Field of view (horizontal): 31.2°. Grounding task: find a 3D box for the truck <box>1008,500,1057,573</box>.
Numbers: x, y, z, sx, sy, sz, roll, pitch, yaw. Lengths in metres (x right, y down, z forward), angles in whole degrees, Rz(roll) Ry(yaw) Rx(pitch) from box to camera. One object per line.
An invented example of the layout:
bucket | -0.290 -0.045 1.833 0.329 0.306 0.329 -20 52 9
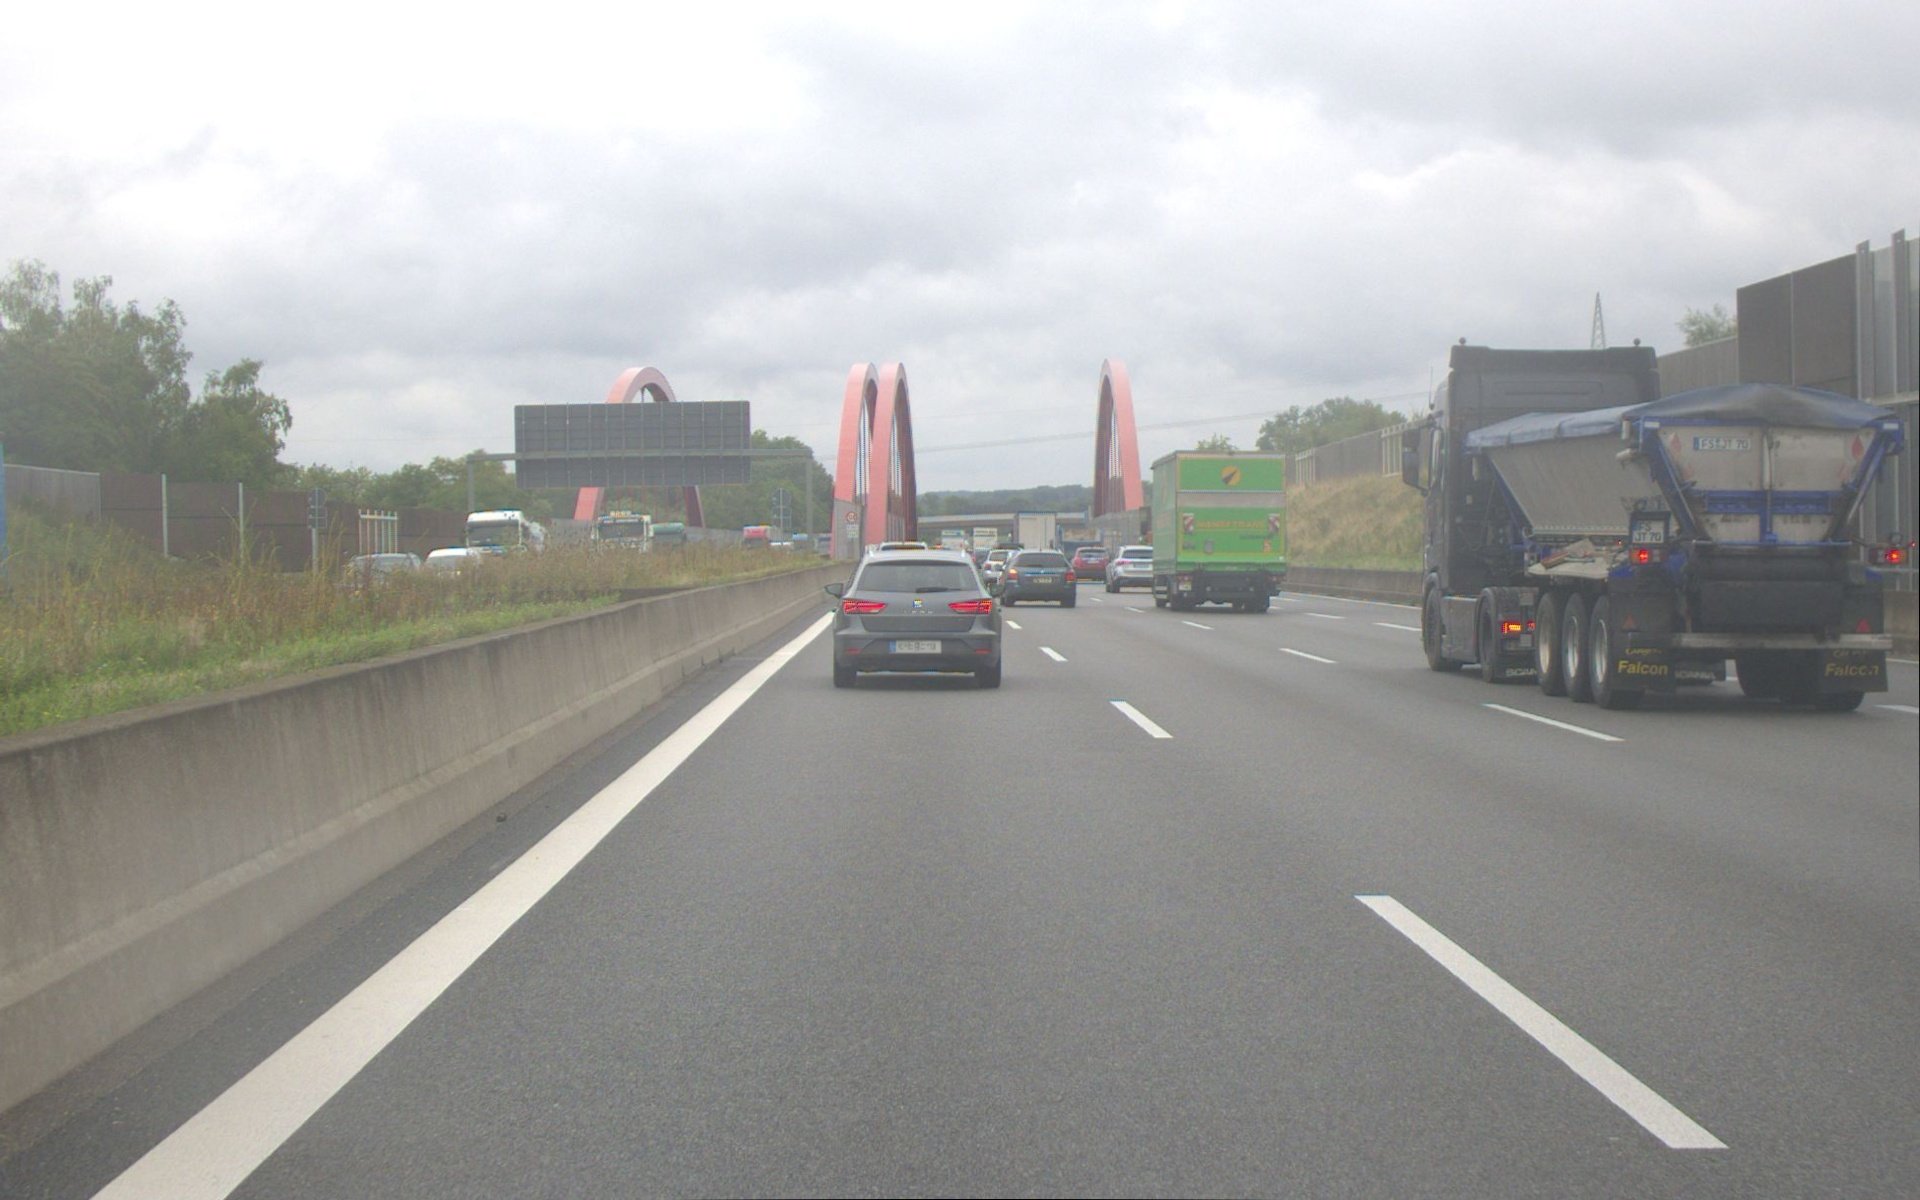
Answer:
truck | 4.791 -4.216 229.034 3.044 4.718 7.680 1 1 0

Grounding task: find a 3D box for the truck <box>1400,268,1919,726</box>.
truck | 7.131 -1.005 36.419 3.089 3.936 12.946 -1 1 -1

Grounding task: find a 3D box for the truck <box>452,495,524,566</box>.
truck | -20.478 -3.010 149.389 2.621 3.009 5.614 1 1 -3

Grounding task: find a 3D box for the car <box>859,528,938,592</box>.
car | -1.603 -1.064 89.798 1.993 1.579 4.000 -1 1 -1

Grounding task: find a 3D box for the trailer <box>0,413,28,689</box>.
trailer | -18.346 -0.805 55.895 3.216 4.868 13.529 1 1 -3

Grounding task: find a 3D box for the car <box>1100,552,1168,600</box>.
car | 5.992 -0.849 118.812 1.993 1.613 5.328 1 1 -1

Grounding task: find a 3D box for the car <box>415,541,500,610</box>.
car | -14.994 -0.740 102.777 1.993 2.007 4.198 0 1 -1

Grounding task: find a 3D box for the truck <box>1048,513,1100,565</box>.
truck | 5.484 -2.955 166.151 2.361 2.498 6.144 0 1 0

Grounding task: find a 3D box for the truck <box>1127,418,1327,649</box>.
truck | 6.400 -1.616 84.555 3.997 5.248 11.220 1 1 0

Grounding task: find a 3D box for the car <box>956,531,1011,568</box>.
car | 0.913 -1.970 133.271 1.993 1.349 4.000 -1 1 -1

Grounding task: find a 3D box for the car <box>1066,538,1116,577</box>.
car | 5.722 -1.857 150.009 1.957 1.641 4.000 1 1 -1

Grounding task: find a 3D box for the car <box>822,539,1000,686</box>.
car | -0.474 0.086 36.191 1.764 1.448 4.000 0 1 0

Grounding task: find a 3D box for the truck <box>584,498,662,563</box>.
truck | -16.382 -3.359 167.541 2.956 3.056 8.728 1 1 -1

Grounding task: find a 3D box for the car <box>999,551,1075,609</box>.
car | 1.922 -0.514 86.379 1.782 1.401 3.626 0 1 -1
